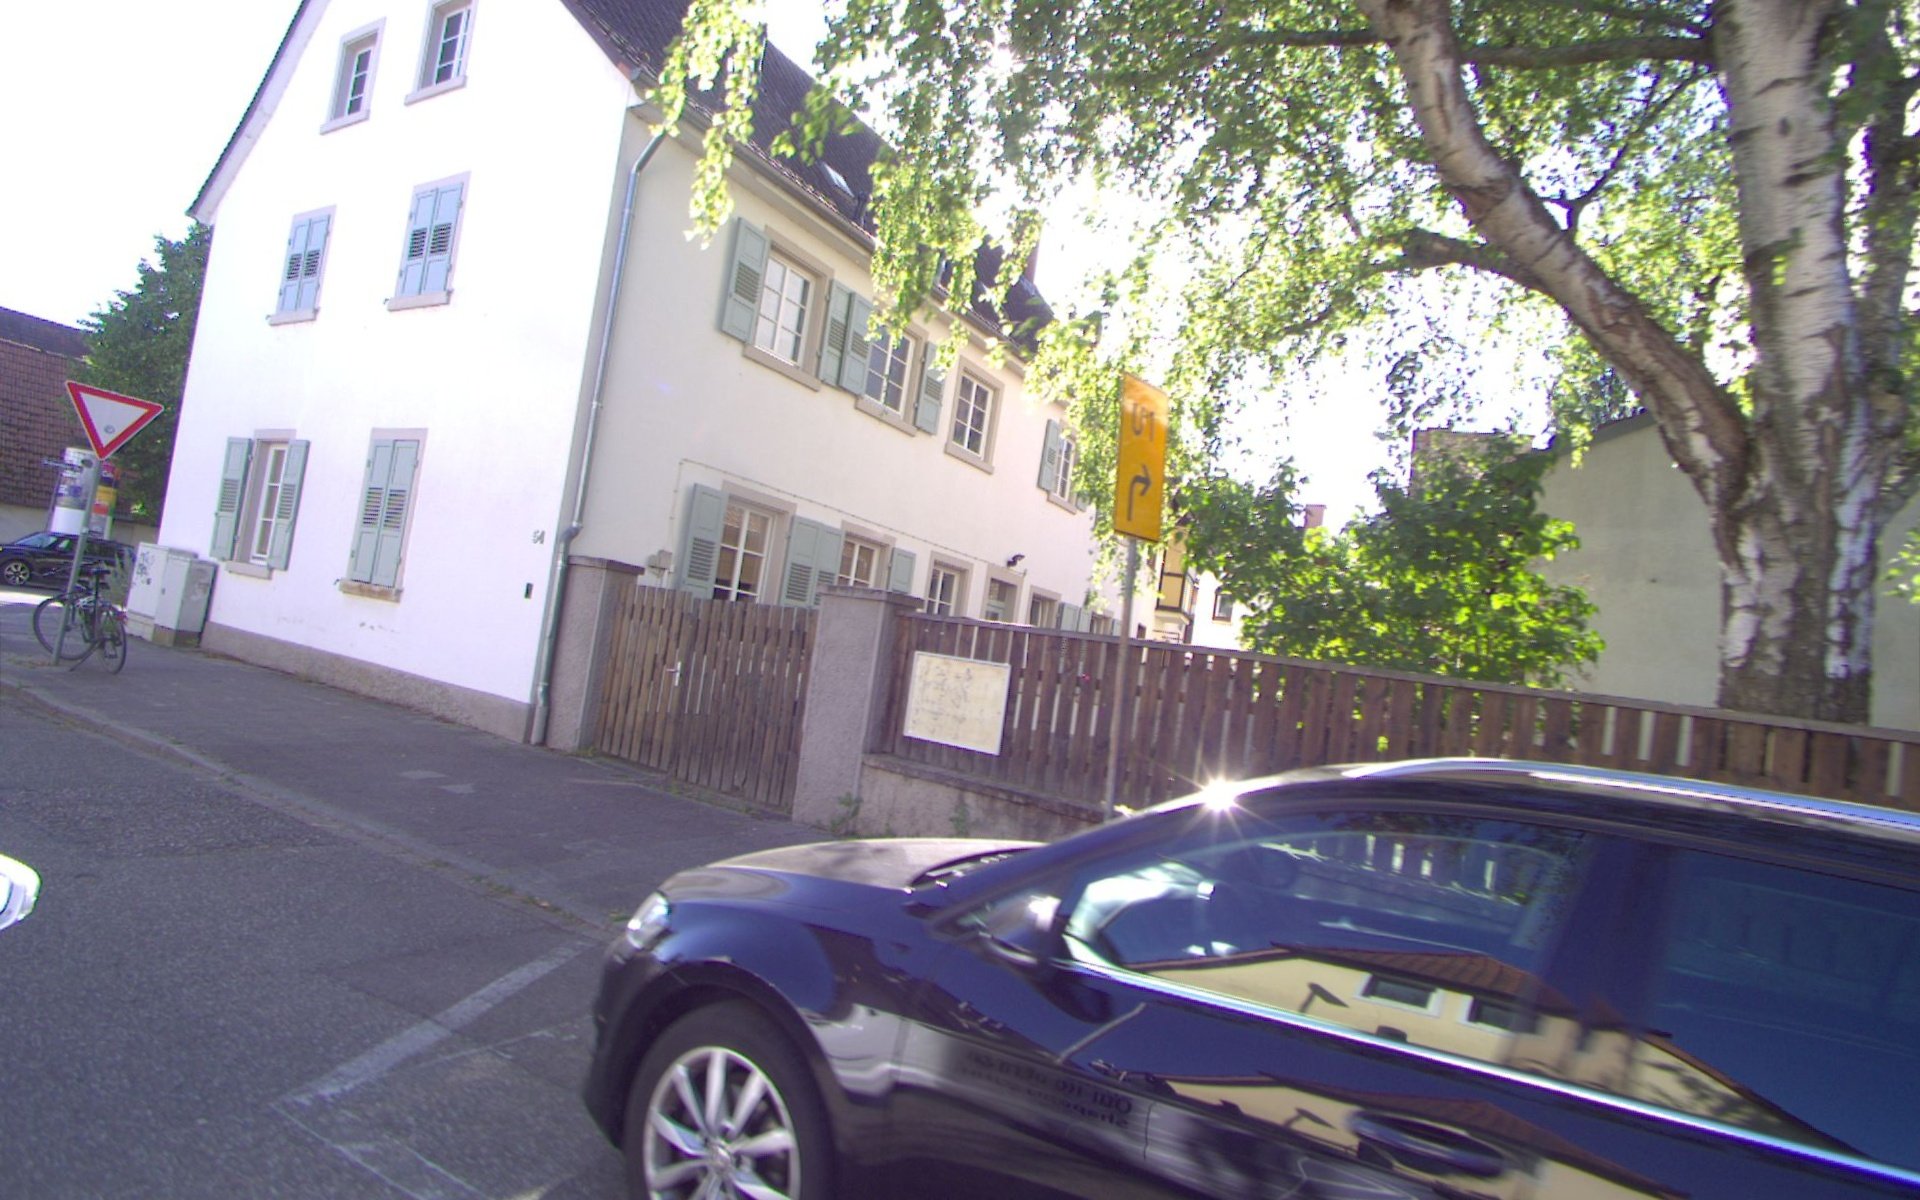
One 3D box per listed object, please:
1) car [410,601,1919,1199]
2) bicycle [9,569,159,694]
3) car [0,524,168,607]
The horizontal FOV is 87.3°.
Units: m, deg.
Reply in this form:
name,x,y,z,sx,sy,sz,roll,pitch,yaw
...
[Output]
name,x,y,z,sx,sy,sz,roll,pitch,yaw
car,0.877,1.058,2.364,4.215,1.451,1.813,7,-4,32
bicycle,-9.390,0.321,10.767,1.857,1.091,0.436,6,-2,27
car,-22.799,-0.914,25.359,1.635,1.492,4.007,7,-5,23
